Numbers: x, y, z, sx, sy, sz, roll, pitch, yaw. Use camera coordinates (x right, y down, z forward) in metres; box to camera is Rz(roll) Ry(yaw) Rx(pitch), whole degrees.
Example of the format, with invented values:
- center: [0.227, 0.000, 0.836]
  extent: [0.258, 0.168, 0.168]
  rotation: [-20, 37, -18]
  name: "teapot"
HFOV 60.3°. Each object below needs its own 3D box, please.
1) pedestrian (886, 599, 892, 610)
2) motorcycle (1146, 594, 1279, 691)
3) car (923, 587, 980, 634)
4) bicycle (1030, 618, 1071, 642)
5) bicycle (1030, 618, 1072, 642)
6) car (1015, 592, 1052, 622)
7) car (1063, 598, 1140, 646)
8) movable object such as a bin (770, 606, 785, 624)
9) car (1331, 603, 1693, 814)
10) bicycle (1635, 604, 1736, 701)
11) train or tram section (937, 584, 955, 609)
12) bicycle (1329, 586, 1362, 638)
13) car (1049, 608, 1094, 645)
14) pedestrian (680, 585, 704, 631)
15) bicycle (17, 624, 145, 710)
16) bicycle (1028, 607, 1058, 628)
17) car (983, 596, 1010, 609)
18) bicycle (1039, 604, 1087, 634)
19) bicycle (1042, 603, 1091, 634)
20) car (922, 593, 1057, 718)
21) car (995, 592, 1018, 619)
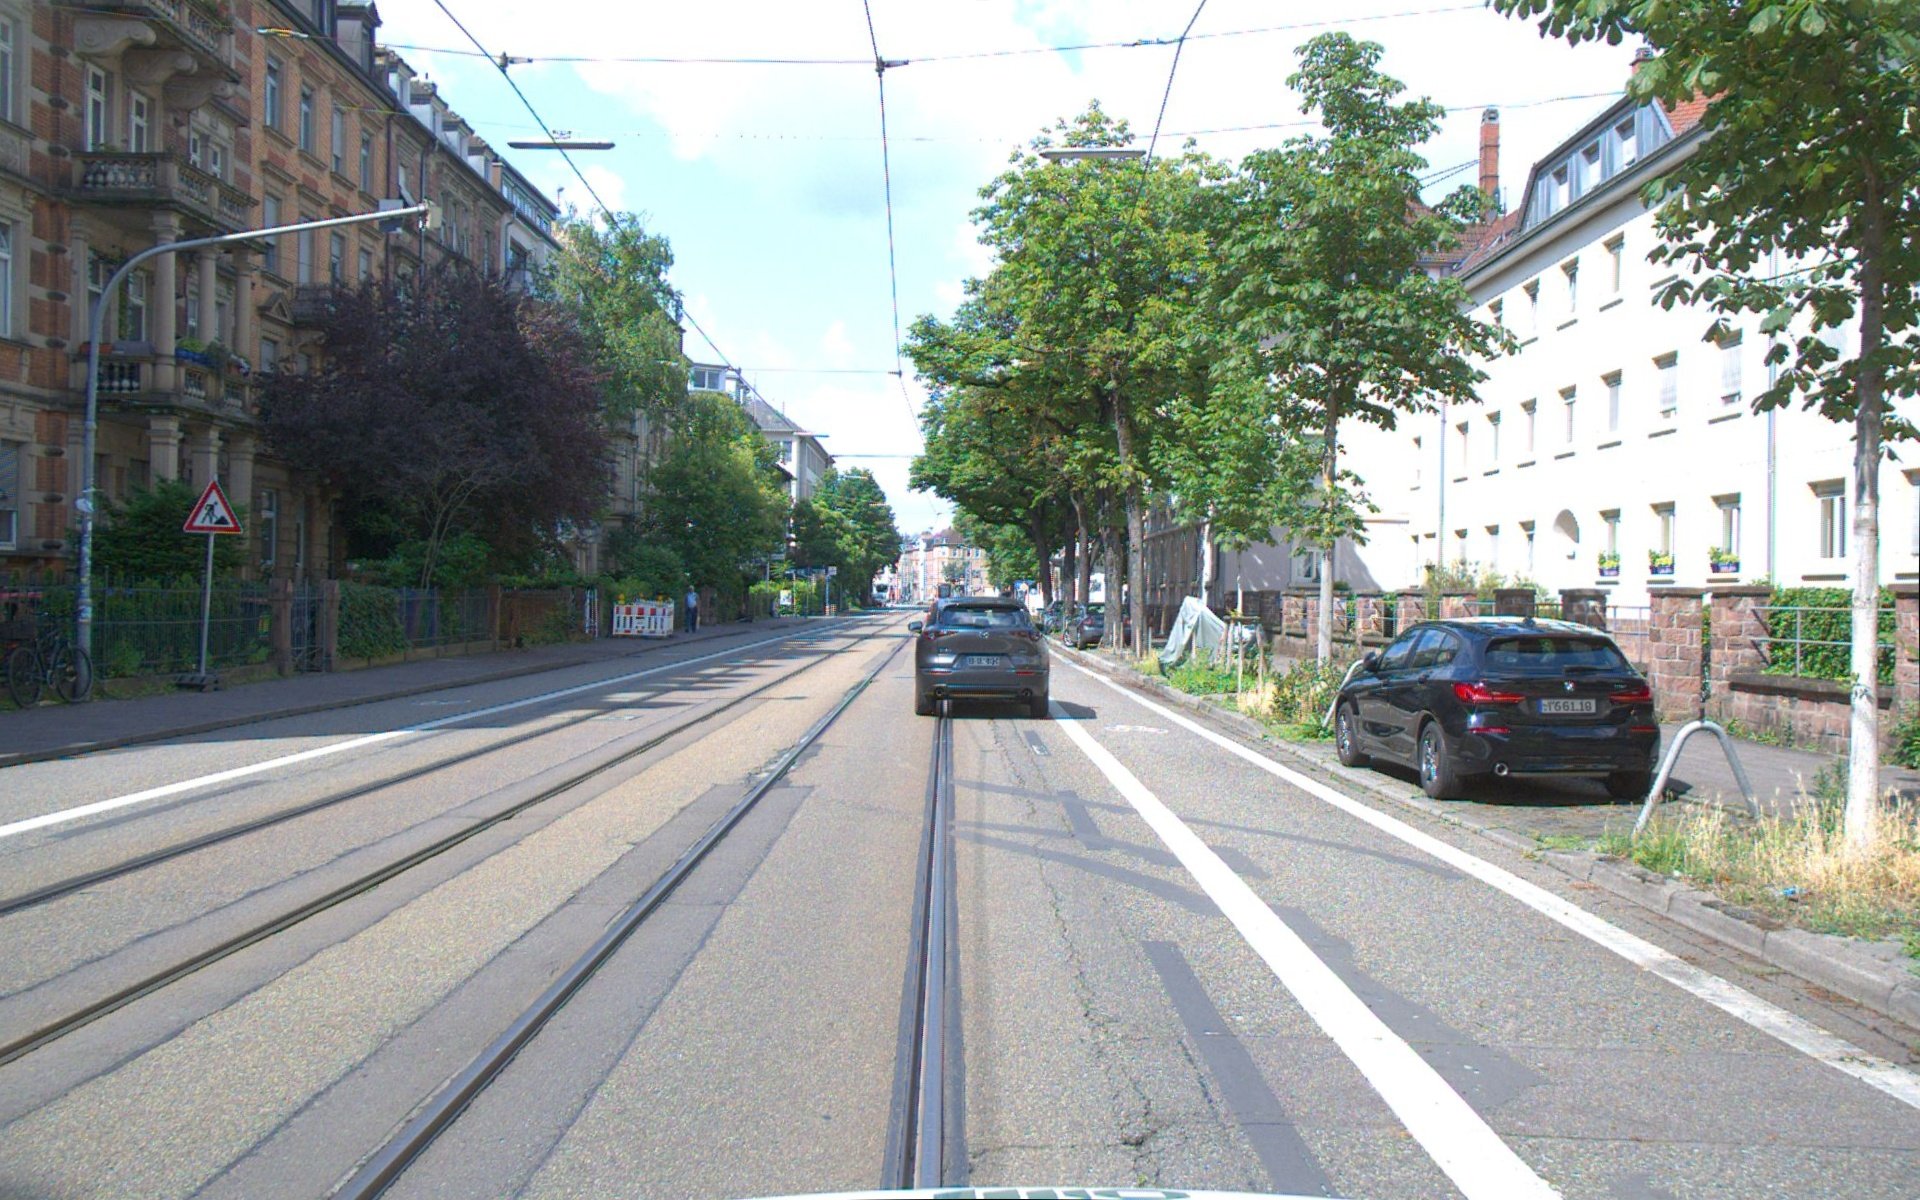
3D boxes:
- center: [-10.432, 0.663, 242.463]
  extent: [0.736, 1.537, 0.823]
  rotation: [1, 0, -5]
  name: "pedestrian"
- center: [4.605, 0.745, 30.260]
  extent: [2.342, 1.625, 0.675]
  rotation: [3, 1, 38]
  name: "motorcycle"
- center: [-0.326, 0.381, 61.131]
  extent: [1.953, 1.555, 3.999]
  rotation: [3, 0, -1]
  name: "car"
- center: [4.122, 1.361, 75.422]
  extent: [1.864, 1.091, 0.402]
  rotation: [1, 0, 0]
  name: "bicycle"
- center: [4.113, 1.356, 74.932]
  extent: [1.864, 1.091, 0.402]
  rotation: [1, 0, 0]
  name: "bicycle"
- center: [4.974, 0.450, 112.151]
  extent: [1.753, 1.972, 4.984]
  rotation: [1, 0, -7]
  name: "car"
- center: [4.474, 0.668, 52.800]
  extent: [1.809, 1.434, 4.391]
  rotation: [-1, 0, -4]
  name: "car"
- center: [-11.073, 0.912, 100.480]
  extent: [0.730, 1.005, 1.114]
  rotation: [3, 0, -1]
  name: "movable object such as a bin"
- center: [4.626, 0.820, 14.536]
  extent: [1.671, 1.505, 4.196]
  rotation: [3, 0, -1]
  name: "car"
- center: [9.598, 0.673, 21.951]
  extent: [0.587, 1.233, 1.704]
  rotation: [1, 0, 0]
  name: "bicycle"
- center: [-2.076, -0.547, 256.623]
  extent: [2.519, 3.838, 13.026]
  rotation: [1, 0, 0]
  name: "train or tram section"
- center: [9.495, 0.289, 40.814]
  extent: [0.403, 1.233, 1.704]
  rotation: [1, 0, 0]
  name: "bicycle"
- center: [4.726, 1.107, 70.379]
  extent: [1.632, 1.455, 3.765]
  rotation: [-1, 0, 0]
  name: "car"
- center: [-10.133, 0.300, 62.545]
  extent: [0.806, 1.736, 0.891]
  rotation: [1, 0, -4]
  name: "pedestrian"
- center: [-10.680, 0.788, 20.160]
  extent: [0.519, 0.963, 1.967]
  rotation: [0, 0, -1]
  name: "bicycle"
- center: [4.015, 0.840, 79.990]
  extent: [1.460, 1.000, 0.259]
  rotation: [0, -1, 1]
  name: "bicycle"
- center: [5.549, 0.382, 253.962]
  extent: [3.748, 1.646, 1.629]
  rotation: [3, 0, -19]
  name: "car"
- center: [4.125, 0.753, 66.146]
  extent: [1.853, 1.196, 0.513]
  rotation: [0, -1, 11]
  name: "bicycle"
- center: [4.213, 0.745, 65.603]
  extent: [1.895, 1.196, 0.513]
  rotation: [0, -1, 11]
  name: "bicycle"
- center: [0.350, 0.692, 22.583]
  extent: [1.685, 1.553, 3.589]
  rotation: [1, 0, -1]
  name: "car"
- center: [3.583, 0.429, 128.822]
  extent: [1.685, 2.003, 4.207]
  rotation: [1, 0, 0]
  name: "car"
